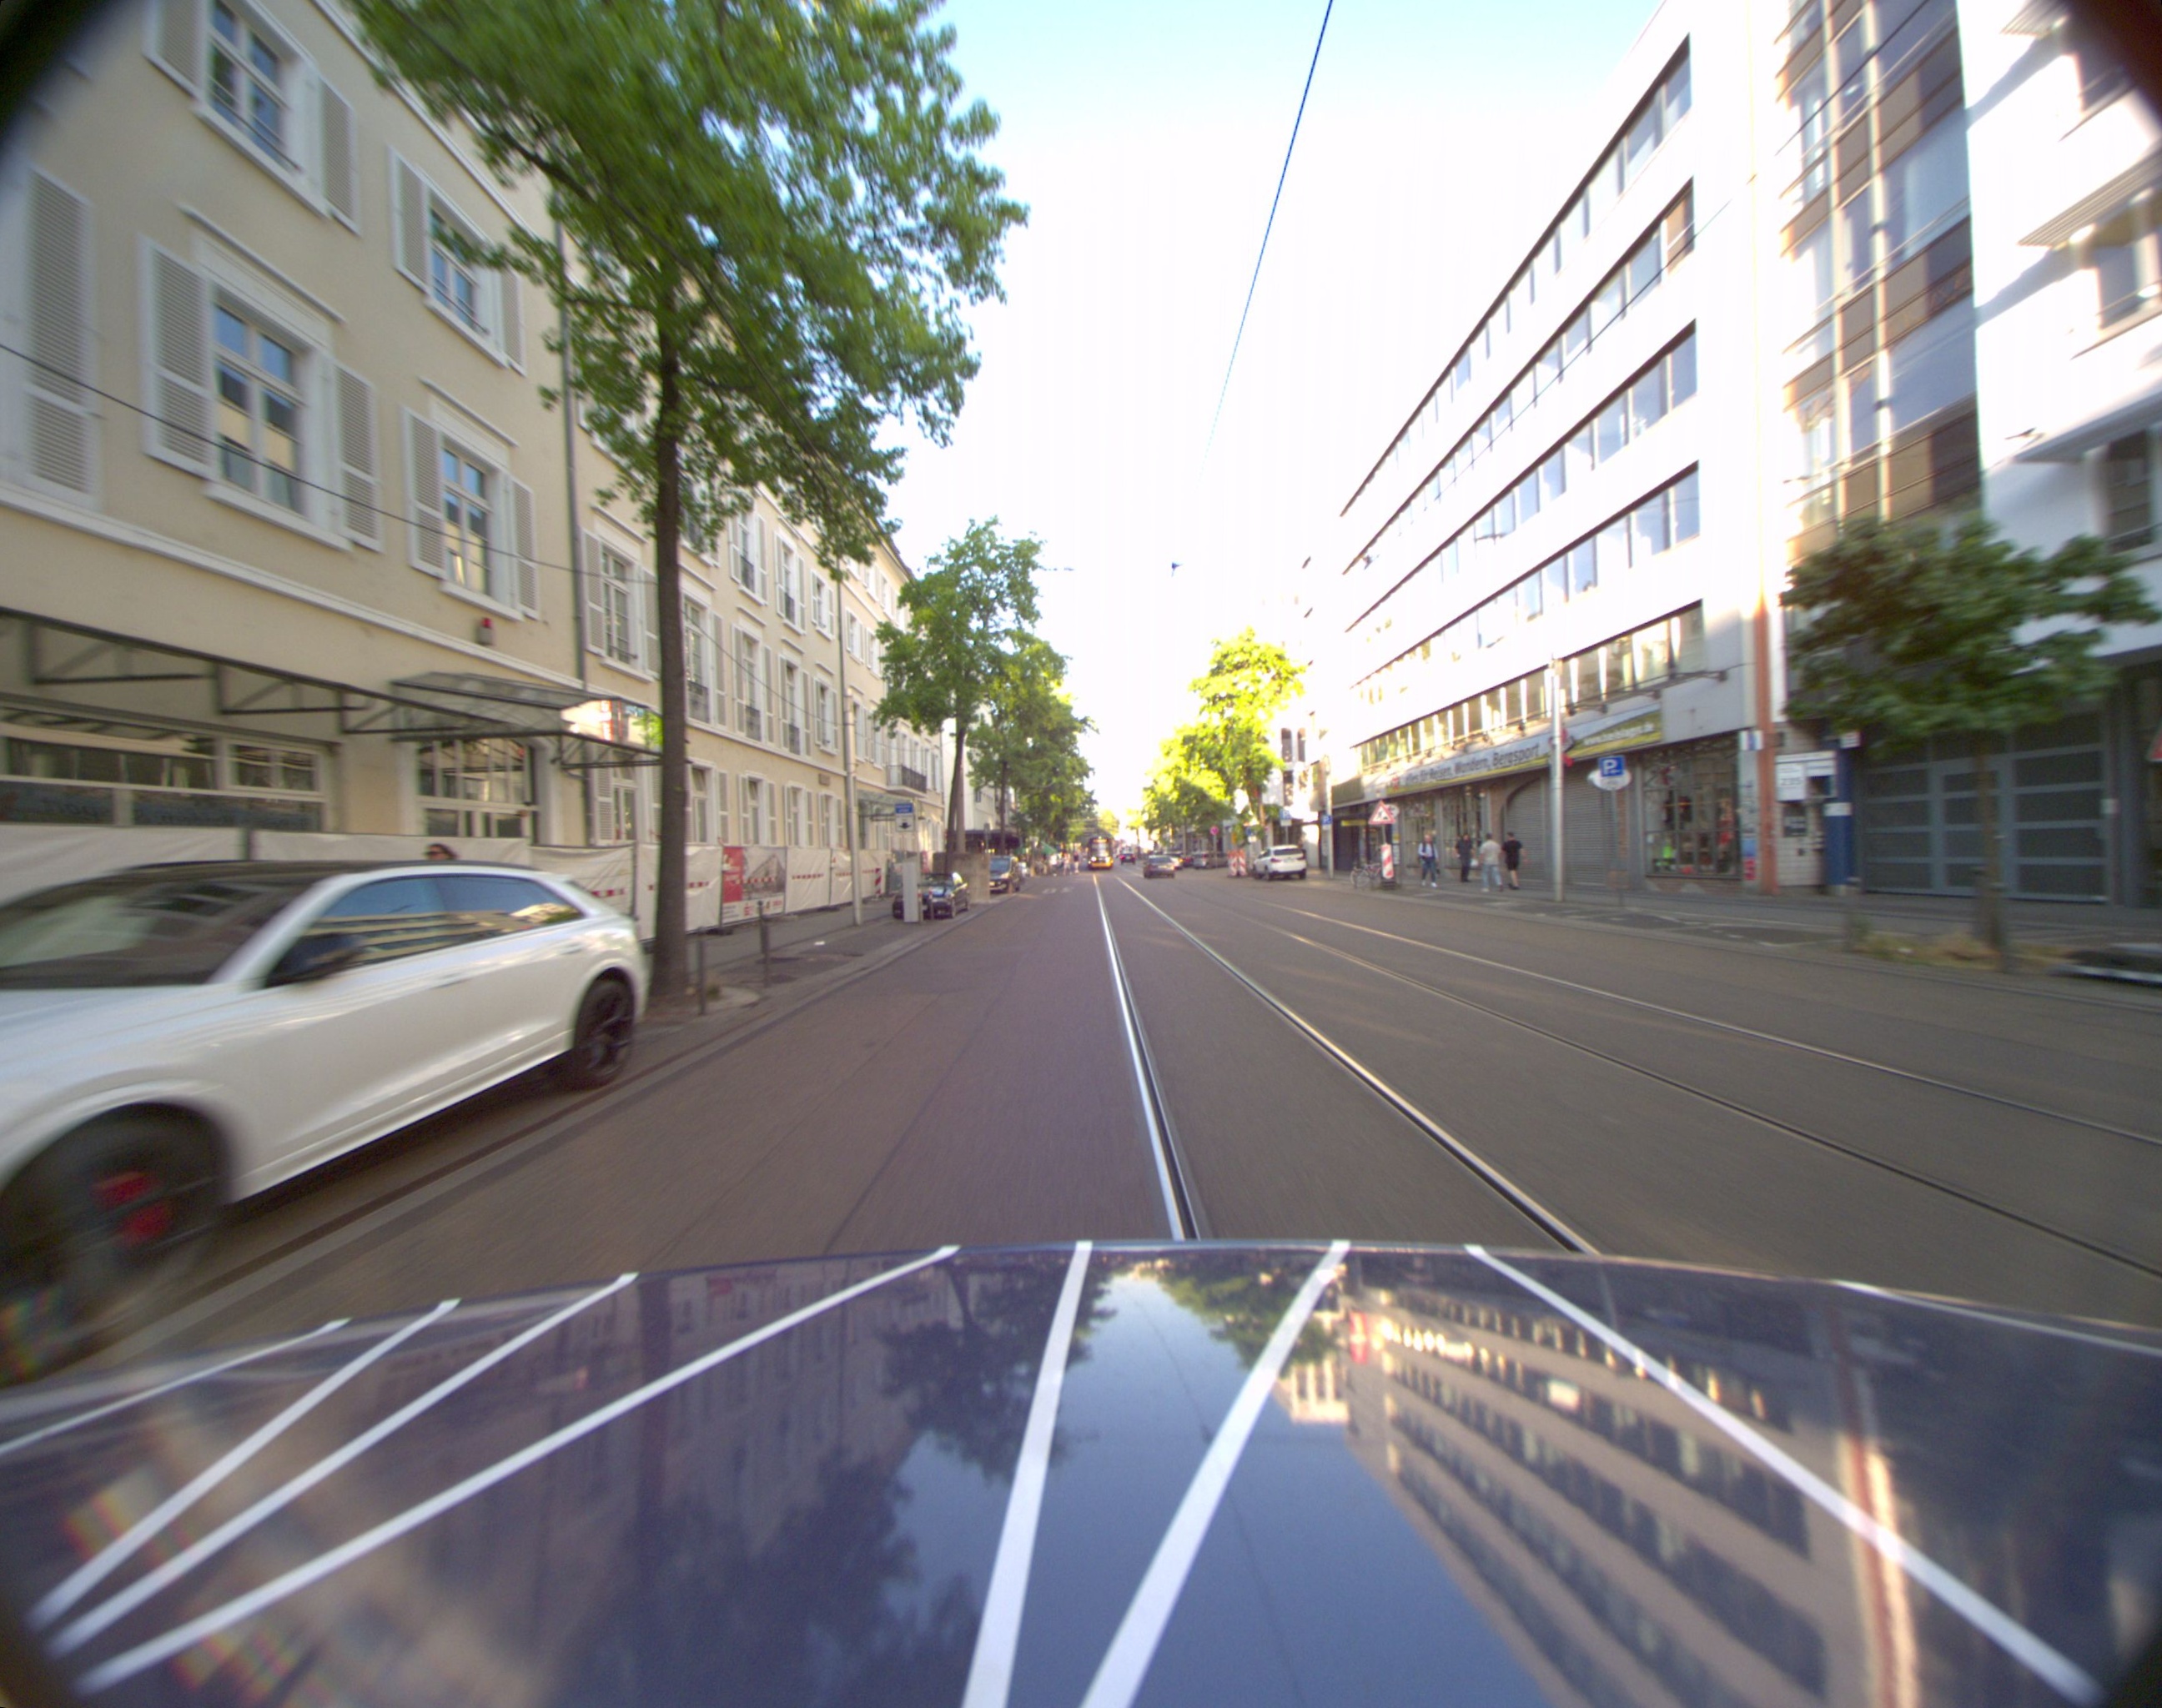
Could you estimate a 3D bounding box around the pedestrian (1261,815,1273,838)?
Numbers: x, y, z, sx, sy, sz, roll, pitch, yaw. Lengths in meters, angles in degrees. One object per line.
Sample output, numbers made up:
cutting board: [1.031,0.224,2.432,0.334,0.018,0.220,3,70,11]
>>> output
pedestrian: [14.044,-2.082,57.320,0.725,1.636,0.611,-2,1,3]

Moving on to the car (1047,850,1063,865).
car: [-3.407,0.475,98.231,2.003,1.831,4.966,0,1,-2]

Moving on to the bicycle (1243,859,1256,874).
bicycle: [10.164,0.761,45.870,0.503,0.832,1.535,-5,1,7]

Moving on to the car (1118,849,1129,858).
car: [9.299,-0.049,165.579,1.999,1.871,4.000,-2,0,0]

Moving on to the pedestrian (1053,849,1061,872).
pedestrian: [-2.029,0.545,64.312,0.598,1.922,0.873,-2,0,3]

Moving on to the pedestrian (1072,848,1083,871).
pedestrian: [-0.289,0.487,64.056,0.772,1.922,0.873,-2,0,3]

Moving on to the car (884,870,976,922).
car: [-4.351,1.176,22.614,1.798,1.304,4.329,0,0,1]

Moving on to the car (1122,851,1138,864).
car: [6.811,0.477,105.778,2.039,1.677,4.200,-2,0,1]

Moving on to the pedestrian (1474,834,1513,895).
pedestrian: [12.066,0.305,22.255,0.643,1.703,0.829,-3,1,5]

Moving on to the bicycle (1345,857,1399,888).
bicycle: [10.791,0.678,28.229,1.748,0.986,0.478,-5,0,8]

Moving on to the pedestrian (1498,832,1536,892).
pedestrian: [12.933,0.229,22.552,0.628,1.703,0.808,-3,1,5]

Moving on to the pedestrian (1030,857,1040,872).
pedestrian: [-4.029,0.897,66.645,0.716,1.321,0.624,-2,0,2]

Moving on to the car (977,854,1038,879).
car: [-5.202,0.870,54.128,3.937,1.599,1.867,-2,2,8]

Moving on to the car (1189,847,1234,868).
car: [11.604,0.306,67.472,3.404,1.551,1.786,-5,2,-28]

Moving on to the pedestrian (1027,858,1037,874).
pedestrian: [-4.216,1.058,65.530,0.716,1.321,0.624,-2,0,2]

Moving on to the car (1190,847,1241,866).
car: [12.513,0.217,70.478,4.320,1.404,1.576,-5,1,-17]

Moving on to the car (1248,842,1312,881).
car: [10.269,0.370,39.617,1.998,1.744,4.744,-4,0,0]

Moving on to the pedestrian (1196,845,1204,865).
pedestrian: [11.331,0.088,72.338,0.656,1.922,0.723,-2,0,3]

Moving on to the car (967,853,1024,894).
car: [-4.003,0.876,36.180,1.956,1.782,4.316,0,0,4]

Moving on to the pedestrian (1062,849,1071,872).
pedestrian: [-1.216,0.518,64.356,0.672,1.922,0.873,-2,0,3]

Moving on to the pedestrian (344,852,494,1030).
pedestrian: [-7.399,0.919,8.551,0.714,1.876,1.053,-1,1,1]

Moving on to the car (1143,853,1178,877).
car: [4.995,0.649,48.075,1.783,1.399,4.528,-2,0,1]

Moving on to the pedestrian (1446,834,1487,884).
pedestrian: [13.702,0.165,27.026,0.834,1.685,1.038,-5,1,1]

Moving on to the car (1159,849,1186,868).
car: [8.111,0.382,67.748,1.889,1.602,4.200,0,0,1]

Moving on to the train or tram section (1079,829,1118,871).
train or tram section: [1.845,-0.358,81.992,3.607,3.974,15.716,-2,0,1]

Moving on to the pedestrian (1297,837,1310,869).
pedestrian: [14.463,-0.071,49.408,0.616,2.002,0.592,-2,0,-1]

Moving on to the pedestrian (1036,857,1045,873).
pedestrian: [-3.476,0.956,65.487,0.716,1.321,0.624,-2,0,2]

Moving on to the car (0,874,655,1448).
car: [-4.499,1.033,3.870,2.003,1.678,4.966,0,1,-2]

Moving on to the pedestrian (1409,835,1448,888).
pedestrian: [11.698,0.250,25.584,0.853,1.756,0.832,-2,0,-2]
